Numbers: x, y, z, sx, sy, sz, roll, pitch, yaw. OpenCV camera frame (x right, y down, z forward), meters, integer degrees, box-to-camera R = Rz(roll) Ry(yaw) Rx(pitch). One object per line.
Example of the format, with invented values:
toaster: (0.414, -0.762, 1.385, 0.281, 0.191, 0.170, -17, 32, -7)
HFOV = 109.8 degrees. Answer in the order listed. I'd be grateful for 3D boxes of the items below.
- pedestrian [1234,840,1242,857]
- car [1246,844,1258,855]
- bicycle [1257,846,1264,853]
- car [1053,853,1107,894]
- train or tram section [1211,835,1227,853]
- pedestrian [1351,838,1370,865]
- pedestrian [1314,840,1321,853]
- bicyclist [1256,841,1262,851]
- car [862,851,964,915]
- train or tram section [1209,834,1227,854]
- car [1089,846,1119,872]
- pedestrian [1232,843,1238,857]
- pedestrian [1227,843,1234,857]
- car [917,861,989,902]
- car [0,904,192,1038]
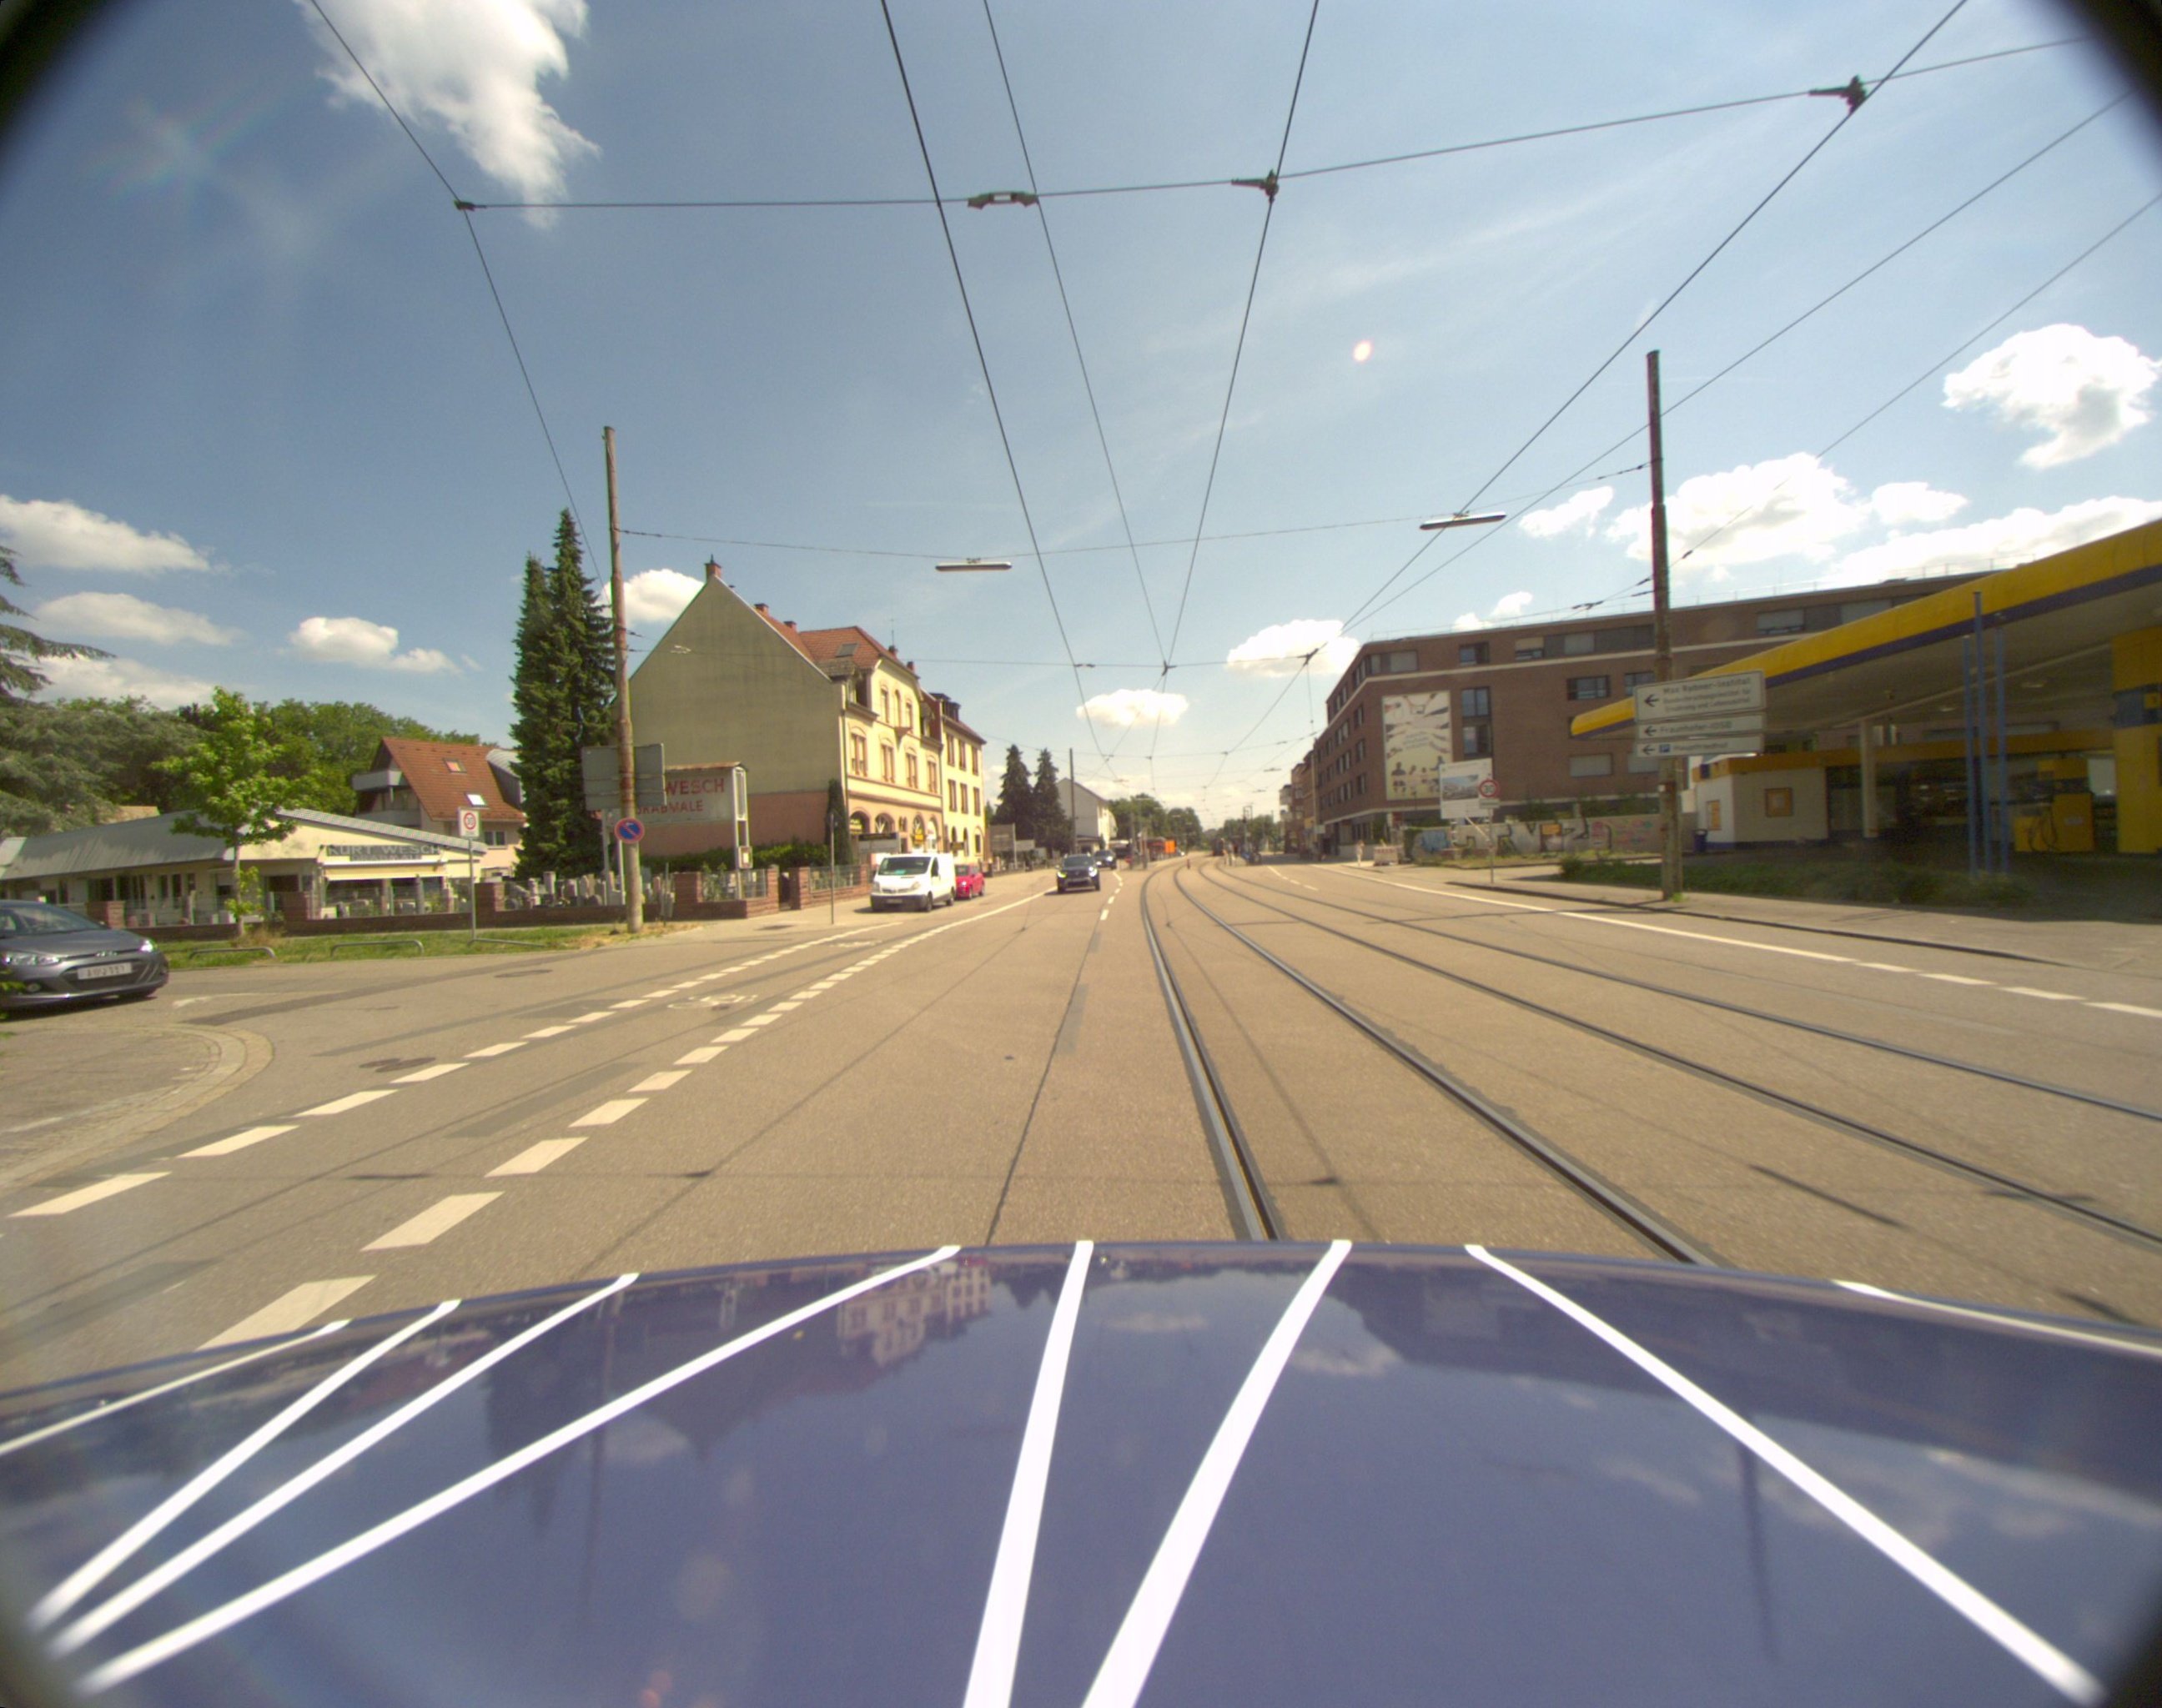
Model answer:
pedestrian: (16.272, -0.584, 78.695, 0.686, 1.750, 1.034, -2, 1, 10)
car: (34.502, -0.850, 153.152, 2.020, 2.002, 4.003, -5, 0, 11)
bicycle: (29.221, -0.757, 123.799, 0.818, 1.215, 2.390, -2, 0, 7)
car: (0.036, 0.776, 33.132, 1.845, 1.565, 4.489, -3, 0, 5)
train or tram section: (31.063, -2.246, 170.767, 3.256, 3.546, 20.515, -2, 1, 11)
pedestrian: (17.514, -0.177, 47.652, 0.761, 1.586, 1.000, -6, 0, 6)
pedestrian: (28.324, -0.900, 90.870, 0.686, 1.587, 0.762, -2, 1, 10)
bicyclist: (29.020, -1.327, 123.763, 0.760, 1.495, 1.066, -3, 1, 5)
car: (-5.705, 0.914, 26.579, 1.998, 1.980, 5.515, -1, 0, 3)
train or tram section: (27.592, -2.024, 152.614, 3.240, 3.546, 16.360, -2, 1, 11)
car: (2.003, 0.397, 65.378, 1.997, 2.002, 4.002, -3, 1, 9)
pedestrian: (19.153, -0.474, 94.472, 0.761, 1.685, 0.809, -2, 1, 10)
pedestrian: (18.696, -0.512, 94.849, 0.761, 1.789, 0.952, -2, 1, 10)
car: (-5.349, 1.126, 32.243, 1.998, 1.433, 4.018, -4, 0, 4)
car: (-14.350, 1.528, 9.863, 3.609, 1.443, 1.759, -3, 1, 3)
